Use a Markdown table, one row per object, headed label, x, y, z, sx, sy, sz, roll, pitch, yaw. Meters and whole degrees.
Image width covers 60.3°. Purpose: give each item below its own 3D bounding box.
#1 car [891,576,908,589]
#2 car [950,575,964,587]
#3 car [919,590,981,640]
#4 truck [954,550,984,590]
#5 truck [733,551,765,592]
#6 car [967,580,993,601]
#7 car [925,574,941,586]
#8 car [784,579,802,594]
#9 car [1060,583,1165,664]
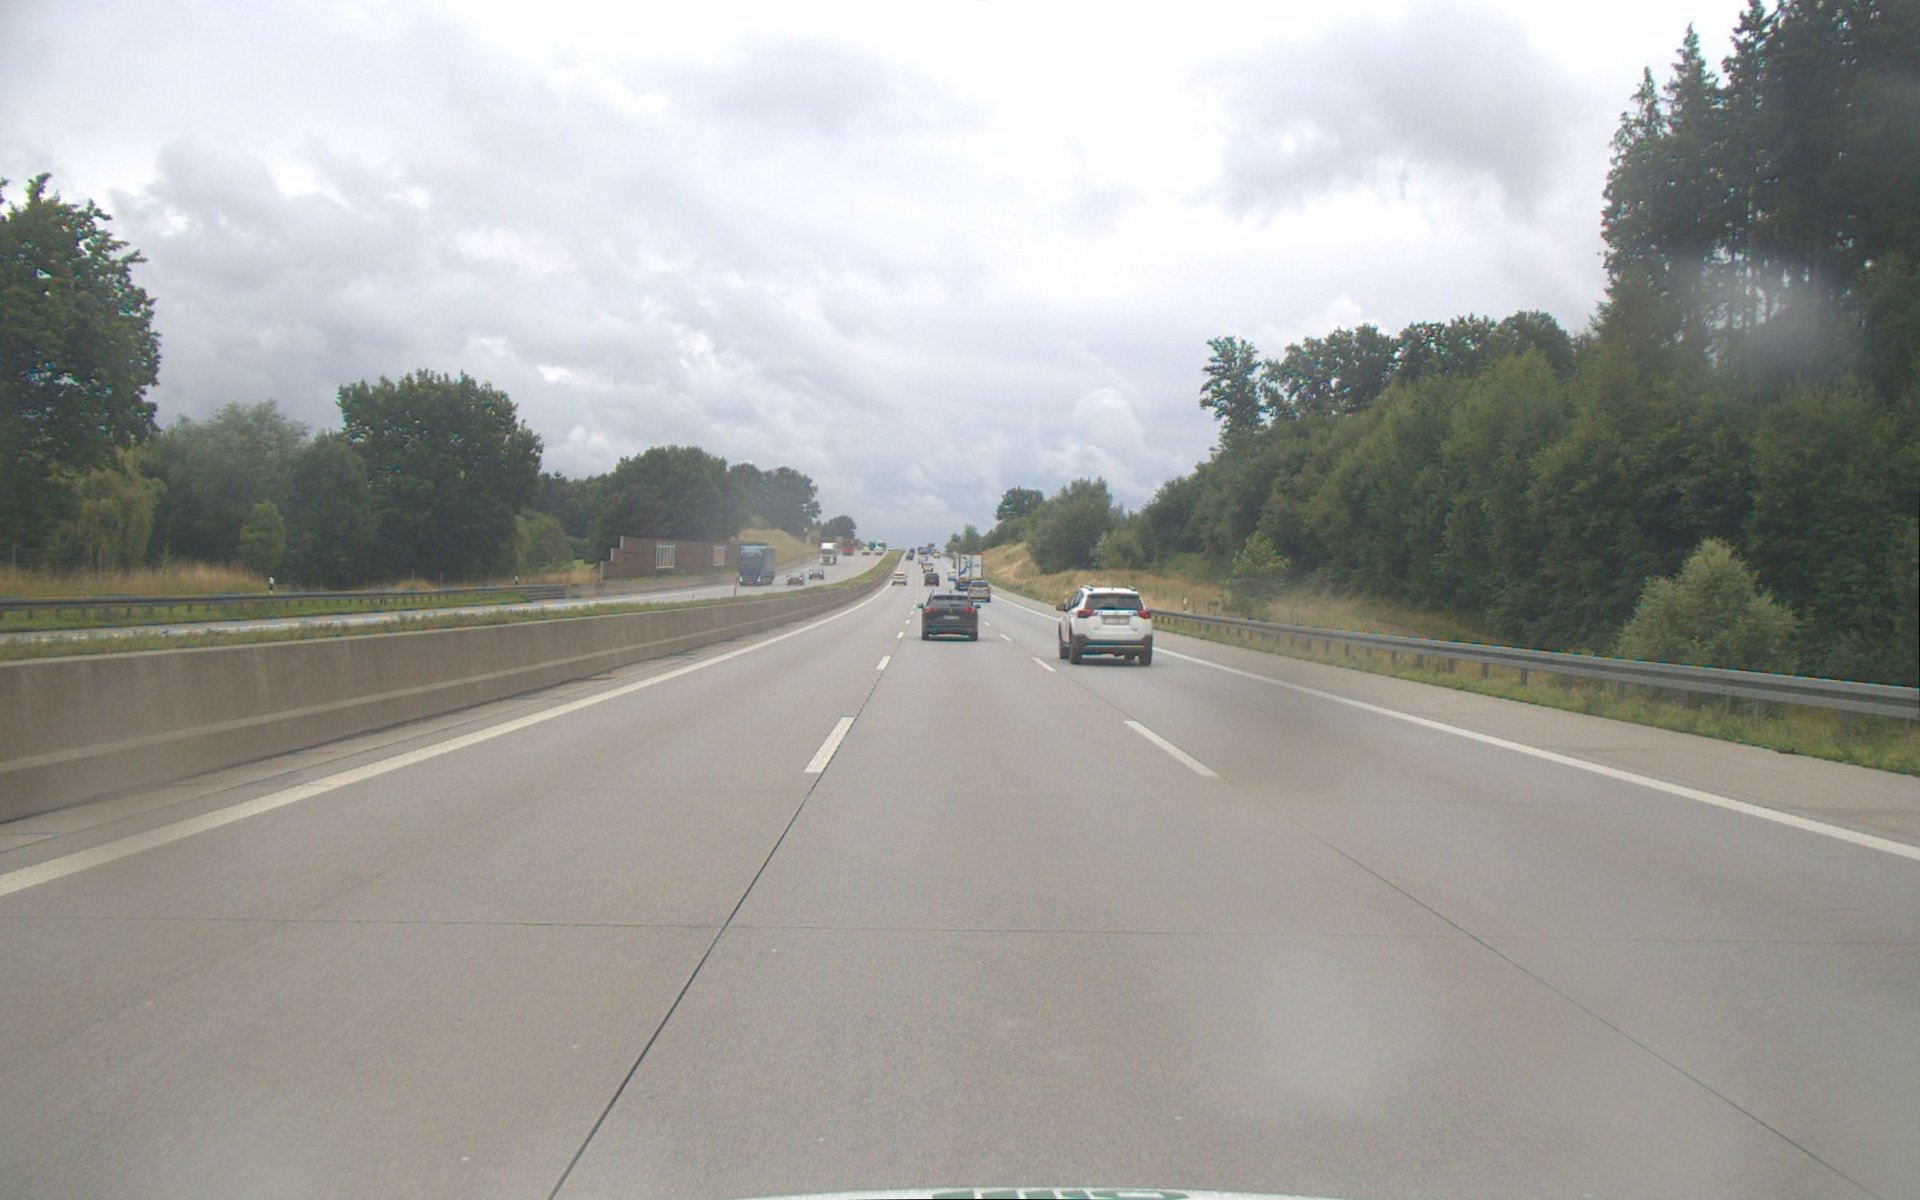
| label | x | y | z | sx | sy | sz | roll | pitch | yaw |
| --- | --- | --- | --- | --- | --- | --- | --- | --- | --- |
| car | -7.555 | -2.176 | 207.197 | 1.908 | 1.380 | 4.258 | 0 | -2 | 0 |
| car | -0.463 | -2.856 | 244.132 | 1.952 | 1.668 | 4.001 | 1 | 1 | 1 |
| car | -0.340 | 0.479 | 51.137 | 1.717 | 1.423 | 4.481 | 1 | -1 | -2 |
| truck | 0.967 | -3.260 | 180.195 | 2.956 | 4.253 | 8.352 | 1 | 1 | -1 |
| truck | -22.476 | -3.006 | 176.096 | 2.637 | 4.261 | 6.209 | 1 | 0 | -1 |
| car | 1.566 | -0.720 | 129.726 | 1.953 | 1.557 | 3.999 | 1 | 0 | -1 |
| car | -3.343 | -2.517 | 206.813 | 1.896 | 1.399 | 4.594 | 2 | 0 | 0 |
| car | -18.536 | -1.473 | 183.713 | 1.604 | 1.526 | 4.516 | 1 | 0 | -3 |
| car | 3.338 | 0.494 | 36.924 | 1.789 | 1.684 | 3.983 | 1 | 0 | -2 |
